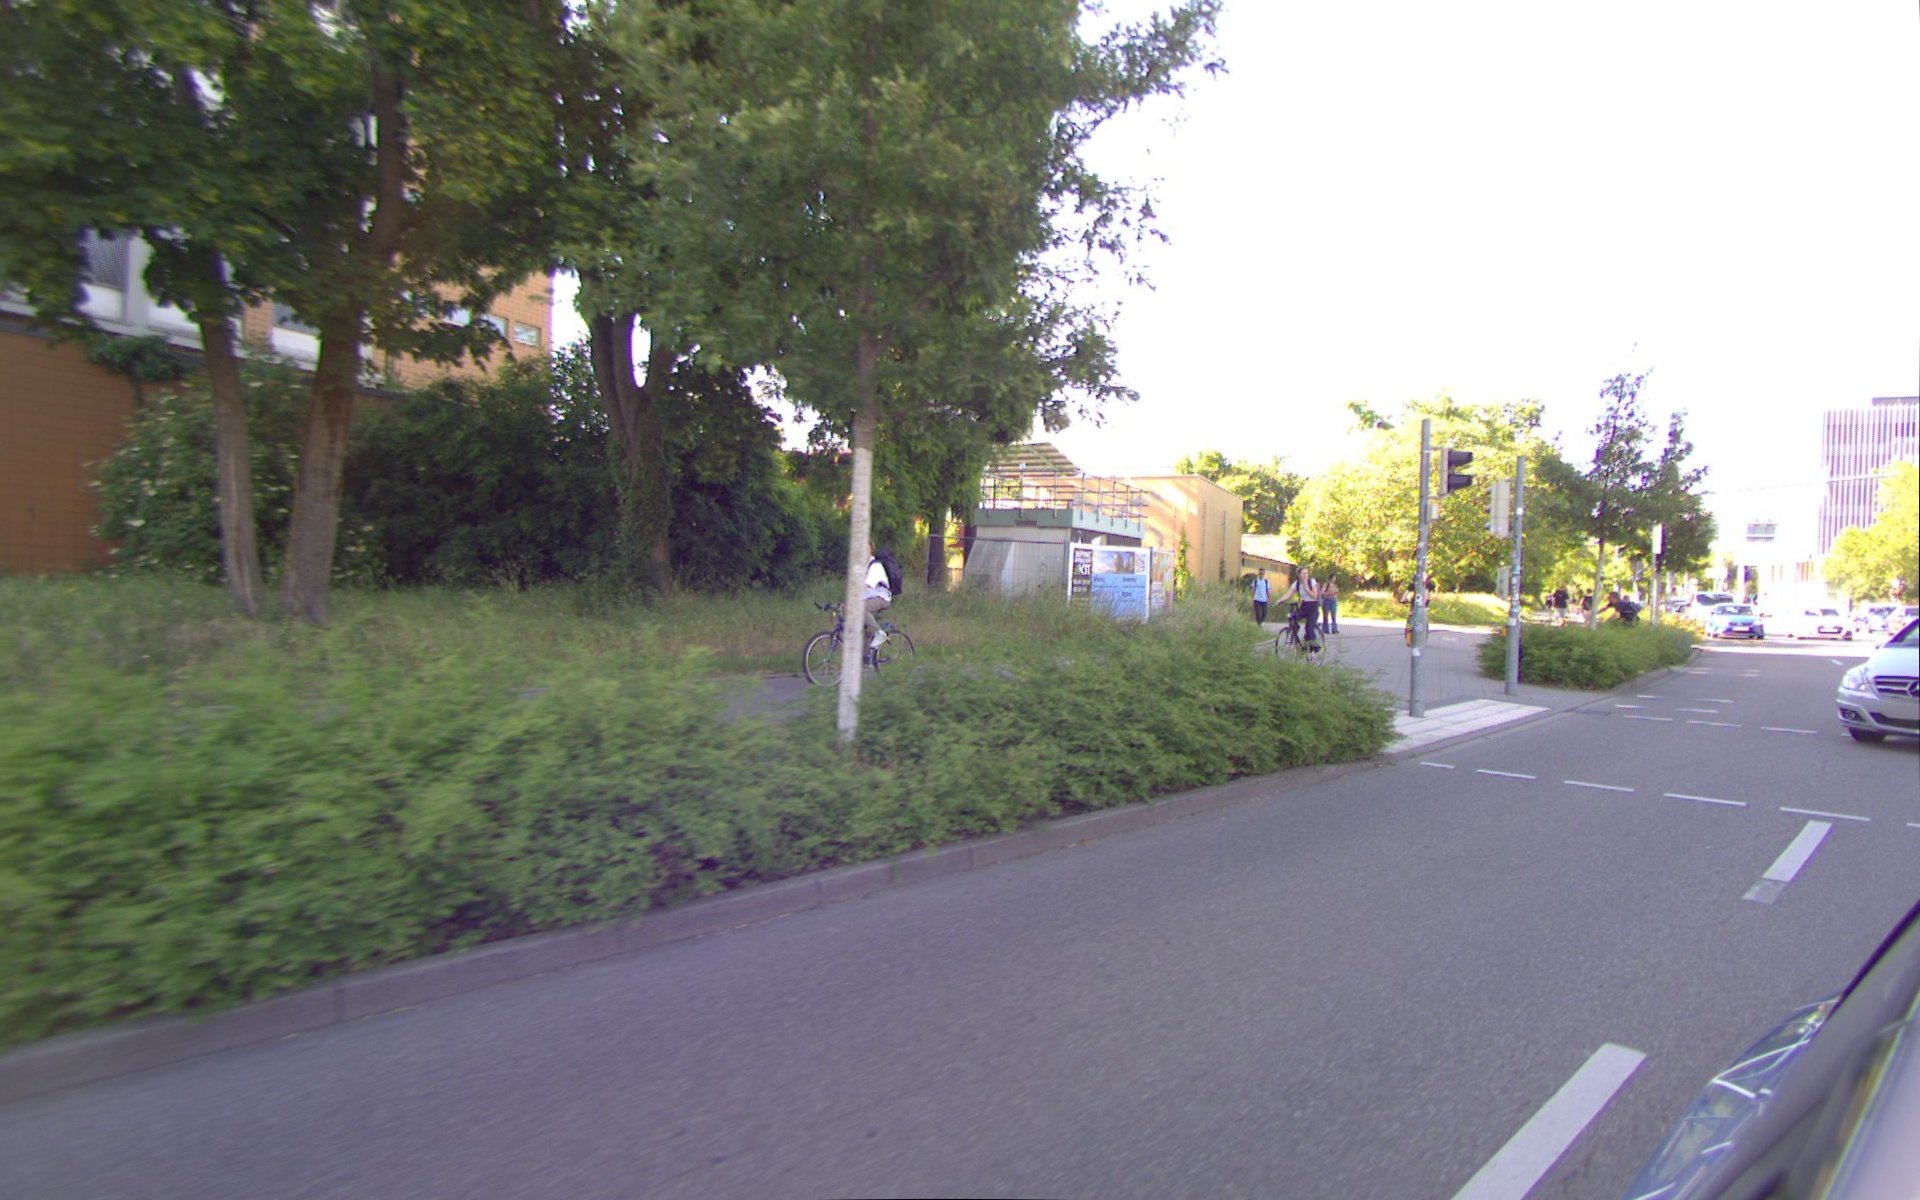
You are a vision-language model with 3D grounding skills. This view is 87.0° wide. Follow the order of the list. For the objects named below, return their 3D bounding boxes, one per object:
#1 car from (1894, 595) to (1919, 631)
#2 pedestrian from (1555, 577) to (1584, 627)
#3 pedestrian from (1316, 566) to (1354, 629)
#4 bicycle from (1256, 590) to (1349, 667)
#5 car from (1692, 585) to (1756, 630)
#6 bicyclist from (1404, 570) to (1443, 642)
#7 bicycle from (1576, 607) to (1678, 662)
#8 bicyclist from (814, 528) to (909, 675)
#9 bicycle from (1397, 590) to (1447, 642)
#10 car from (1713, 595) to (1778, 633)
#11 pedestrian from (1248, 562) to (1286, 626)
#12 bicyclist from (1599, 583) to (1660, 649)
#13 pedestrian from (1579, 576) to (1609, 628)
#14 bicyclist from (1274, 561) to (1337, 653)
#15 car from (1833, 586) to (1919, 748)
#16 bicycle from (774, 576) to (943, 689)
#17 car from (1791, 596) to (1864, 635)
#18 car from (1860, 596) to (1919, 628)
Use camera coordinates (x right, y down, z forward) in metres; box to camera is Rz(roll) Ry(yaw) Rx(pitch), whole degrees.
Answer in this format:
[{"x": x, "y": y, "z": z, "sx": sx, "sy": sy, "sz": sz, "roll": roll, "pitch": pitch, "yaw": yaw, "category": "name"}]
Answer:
[{"x": 43.925, "y": 0.578, "z": 45.495, "sx": 1.969, "sy": 1.574, "sz": 4.670, "roll": 1, "pitch": 0, "yaw": 32, "category": "car"}, {"x": 22.437, "y": 0.063, "z": 37.260, "sx": 0.723, "sy": 1.804, "sz": 0.729, "roll": 4, "pitch": -2, "yaw": -44, "category": "pedestrian"}, {"x": 10.102, "y": -0.064, "z": 27.281, "sx": 0.664, "sy": 1.664, "sz": 0.736, "roll": 3, "pitch": -1, "yaw": -3, "category": "pedestrian"}, {"x": 5.712, "y": 0.451, "z": 16.831, "sx": 1.839, "sy": 1.179, "sz": 0.642, "roll": 0, "pitch": 3, "yaw": -44, "category": "bicycle"}, {"x": 35.696, "y": 0.310, "z": 47.382, "sx": 1.924, "sy": 1.977, "sz": 4.703, "roll": 1, "pitch": 0, "yaw": 32, "category": "car"}, {"x": 11.087, "y": 0.137, "z": 24.201, "sx": 0.640, "sy": 1.666, "sz": 0.766, "roll": 2, "pitch": 1, "yaw": 38, "category": "bicyclist"}, {"x": 15.080, "y": 0.772, "z": 22.910, "sx": 1.837, "sy": 1.180, "sz": 0.642, "roll": 1, "pitch": 0, "yaw": 6, "category": "bicycle"}, {"x": -1.143, "y": 0.001, "z": 11.757, "sx": 0.818, "sy": 1.614, "sz": 0.630, "roll": 1, "pitch": 4, "yaw": -44, "category": "bicyclist"}, {"x": 11.043, "y": 0.363, "z": 24.164, "sx": 0.640, "sy": 1.179, "sz": 1.844, "roll": 2, "pitch": 1, "yaw": 38, "category": "bicycle"}, {"x": 32.279, "y": 0.539, "z": 41.665, "sx": 1.692, "sy": 1.460, "sz": 3.954, "roll": 1, "pitch": 0, "yaw": 32, "category": "car"}, {"x": 8.196, "y": -0.164, "z": 27.045, "sx": 0.664, "sy": 1.664, "sz": 0.736, "roll": 3, "pitch": -1, "yaw": -5, "category": "pedestrian"}, {"x": 15.142, "y": 0.351, "z": 22.903, "sx": 0.936, "sy": 1.462, "sz": 0.642, "roll": 1, "pitch": 0, "yaw": 5, "category": "bicyclist"}, {"x": 22.911, "y": 0.062, "z": 36.552, "sx": 0.723, "sy": 1.839, "sz": 0.729, "roll": 4, "pitch": -2, "yaw": -44, "category": "pedestrian"}, {"x": 5.745, "y": 0.111, "z": 16.840, "sx": 0.764, "sy": 1.462, "sz": 0.642, "roll": 1, "pitch": 3, "yaw": -44, "category": "bicyclist"}, {"x": 11.741, "y": 0.653, "z": 10.870, "sx": 4.542, "sy": 1.614, "sz": 1.775, "roll": -1, "pitch": 1, "yaw": -23, "category": "car"}, {"x": -1.145, "y": 0.348, "z": 11.784, "sx": 1.924, "sy": 1.179, "sz": 0.642, "roll": 0, "pitch": 4, "yaw": -44, "category": "bicycle"}, {"x": 35.996, "y": 0.589, "z": 42.092, "sx": 1.989, "sy": 1.487, "sz": 3.947, "roll": 2, "pitch": 1, "yaw": 36, "category": "car"}, {"x": 48.010, "y": 0.604, "z": 51.884, "sx": 1.969, "sy": 1.574, "sz": 4.670, "roll": 1, "pitch": 0, "yaw": 32, "category": "car"}]
